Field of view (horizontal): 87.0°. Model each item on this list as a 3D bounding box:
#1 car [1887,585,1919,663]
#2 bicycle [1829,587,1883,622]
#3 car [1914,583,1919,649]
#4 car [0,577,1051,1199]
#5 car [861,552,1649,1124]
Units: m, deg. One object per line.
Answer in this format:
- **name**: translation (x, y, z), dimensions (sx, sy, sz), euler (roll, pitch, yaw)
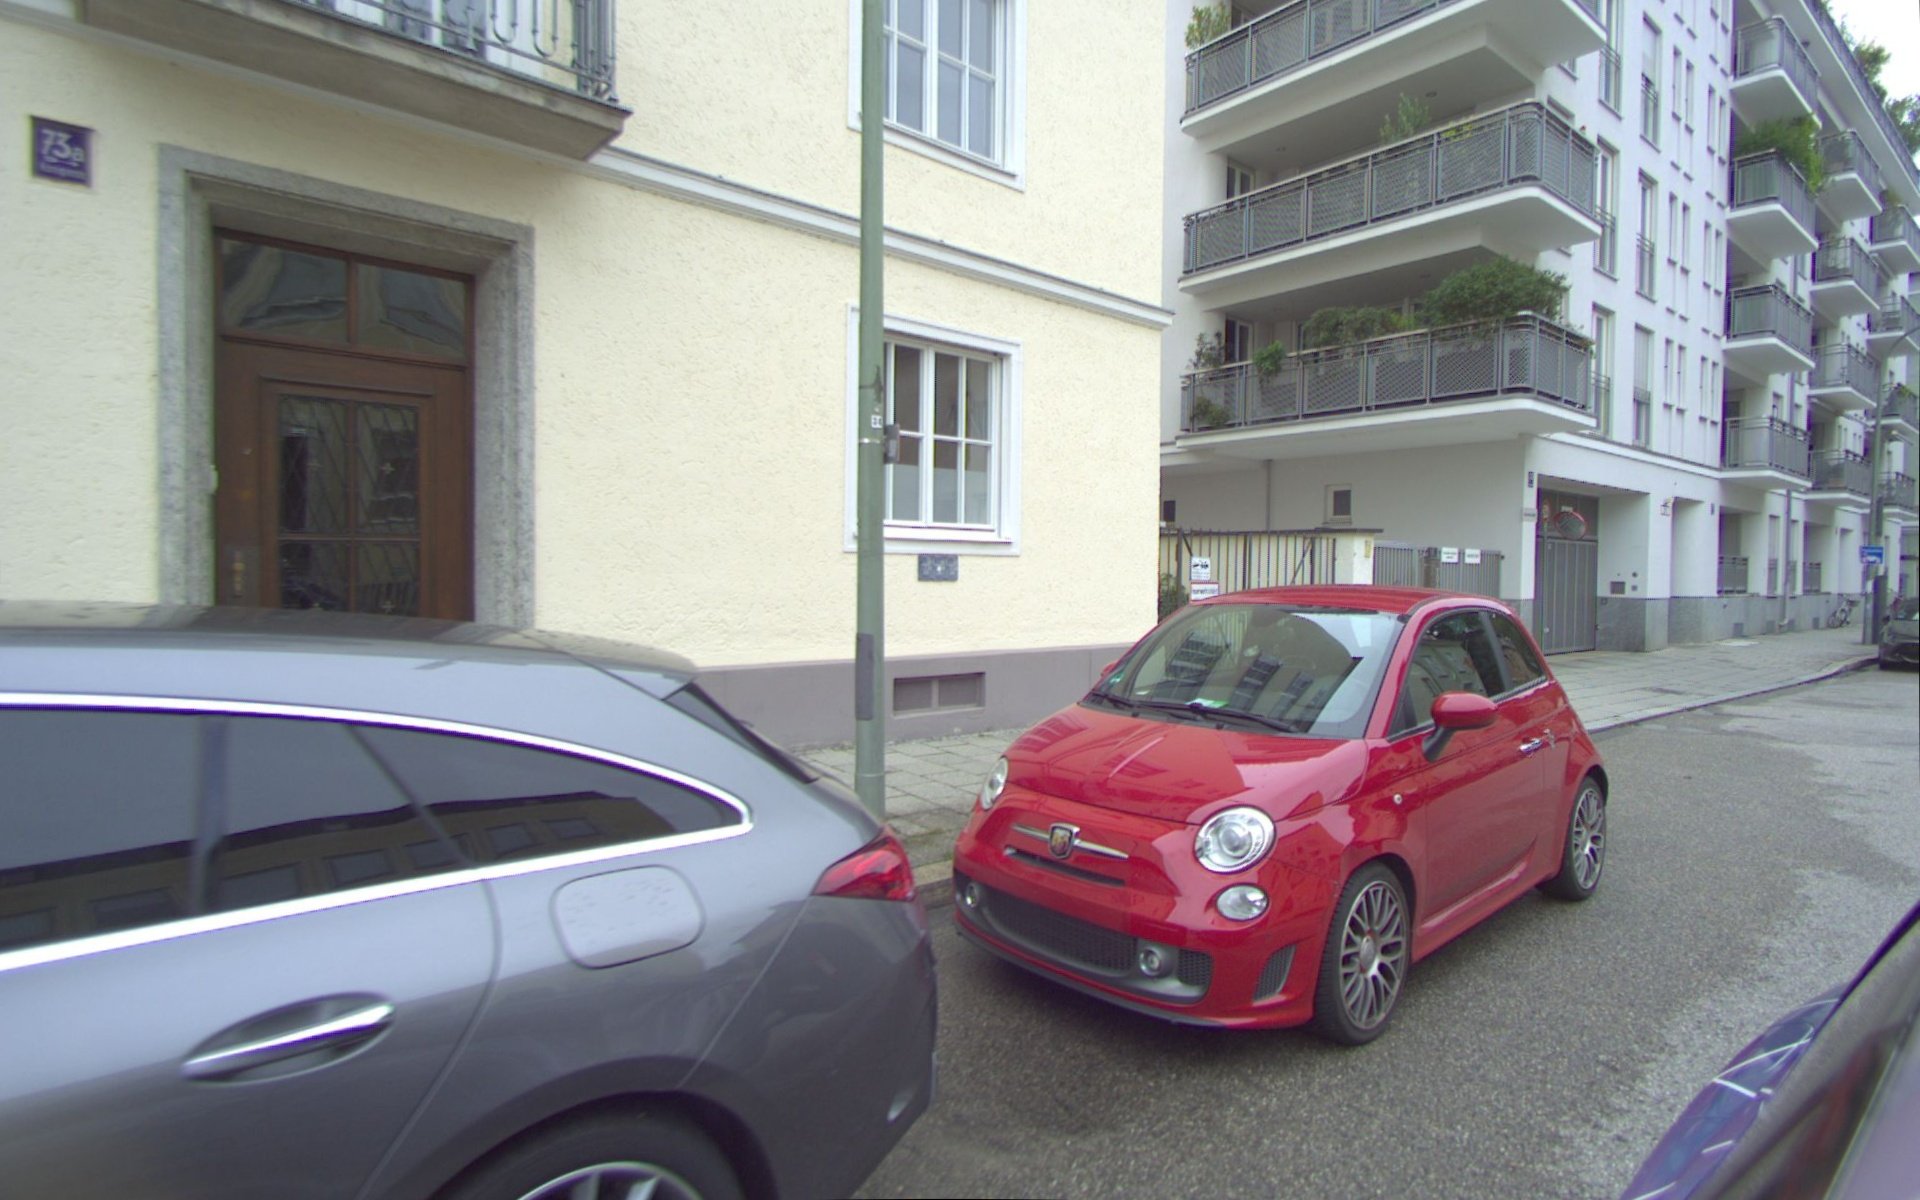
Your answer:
- **car**: translation (19.397, 0.431, 19.658), dimensions (4.176, 1.411, 1.781), euler (-1, 2, -44)
- **bicycle**: translation (27.510, 0.135, 31.062), dimensions (1.913, 1.027, 0.582), euler (-1, 0, -28)
- **car**: translation (23.163, 0.352, 23.057), dimensions (3.359, 1.475, 1.765), euler (-1, 2, -41)
- **car**: translation (-1.977, 0.685, 1.354), dimensions (4.346, 1.427, 1.682), euler (-1, 2, -42)
- **car**: translation (1.566, 0.585, 4.561), dimensions (3.758, 1.516, 1.682), euler (-1, 2, -42)
